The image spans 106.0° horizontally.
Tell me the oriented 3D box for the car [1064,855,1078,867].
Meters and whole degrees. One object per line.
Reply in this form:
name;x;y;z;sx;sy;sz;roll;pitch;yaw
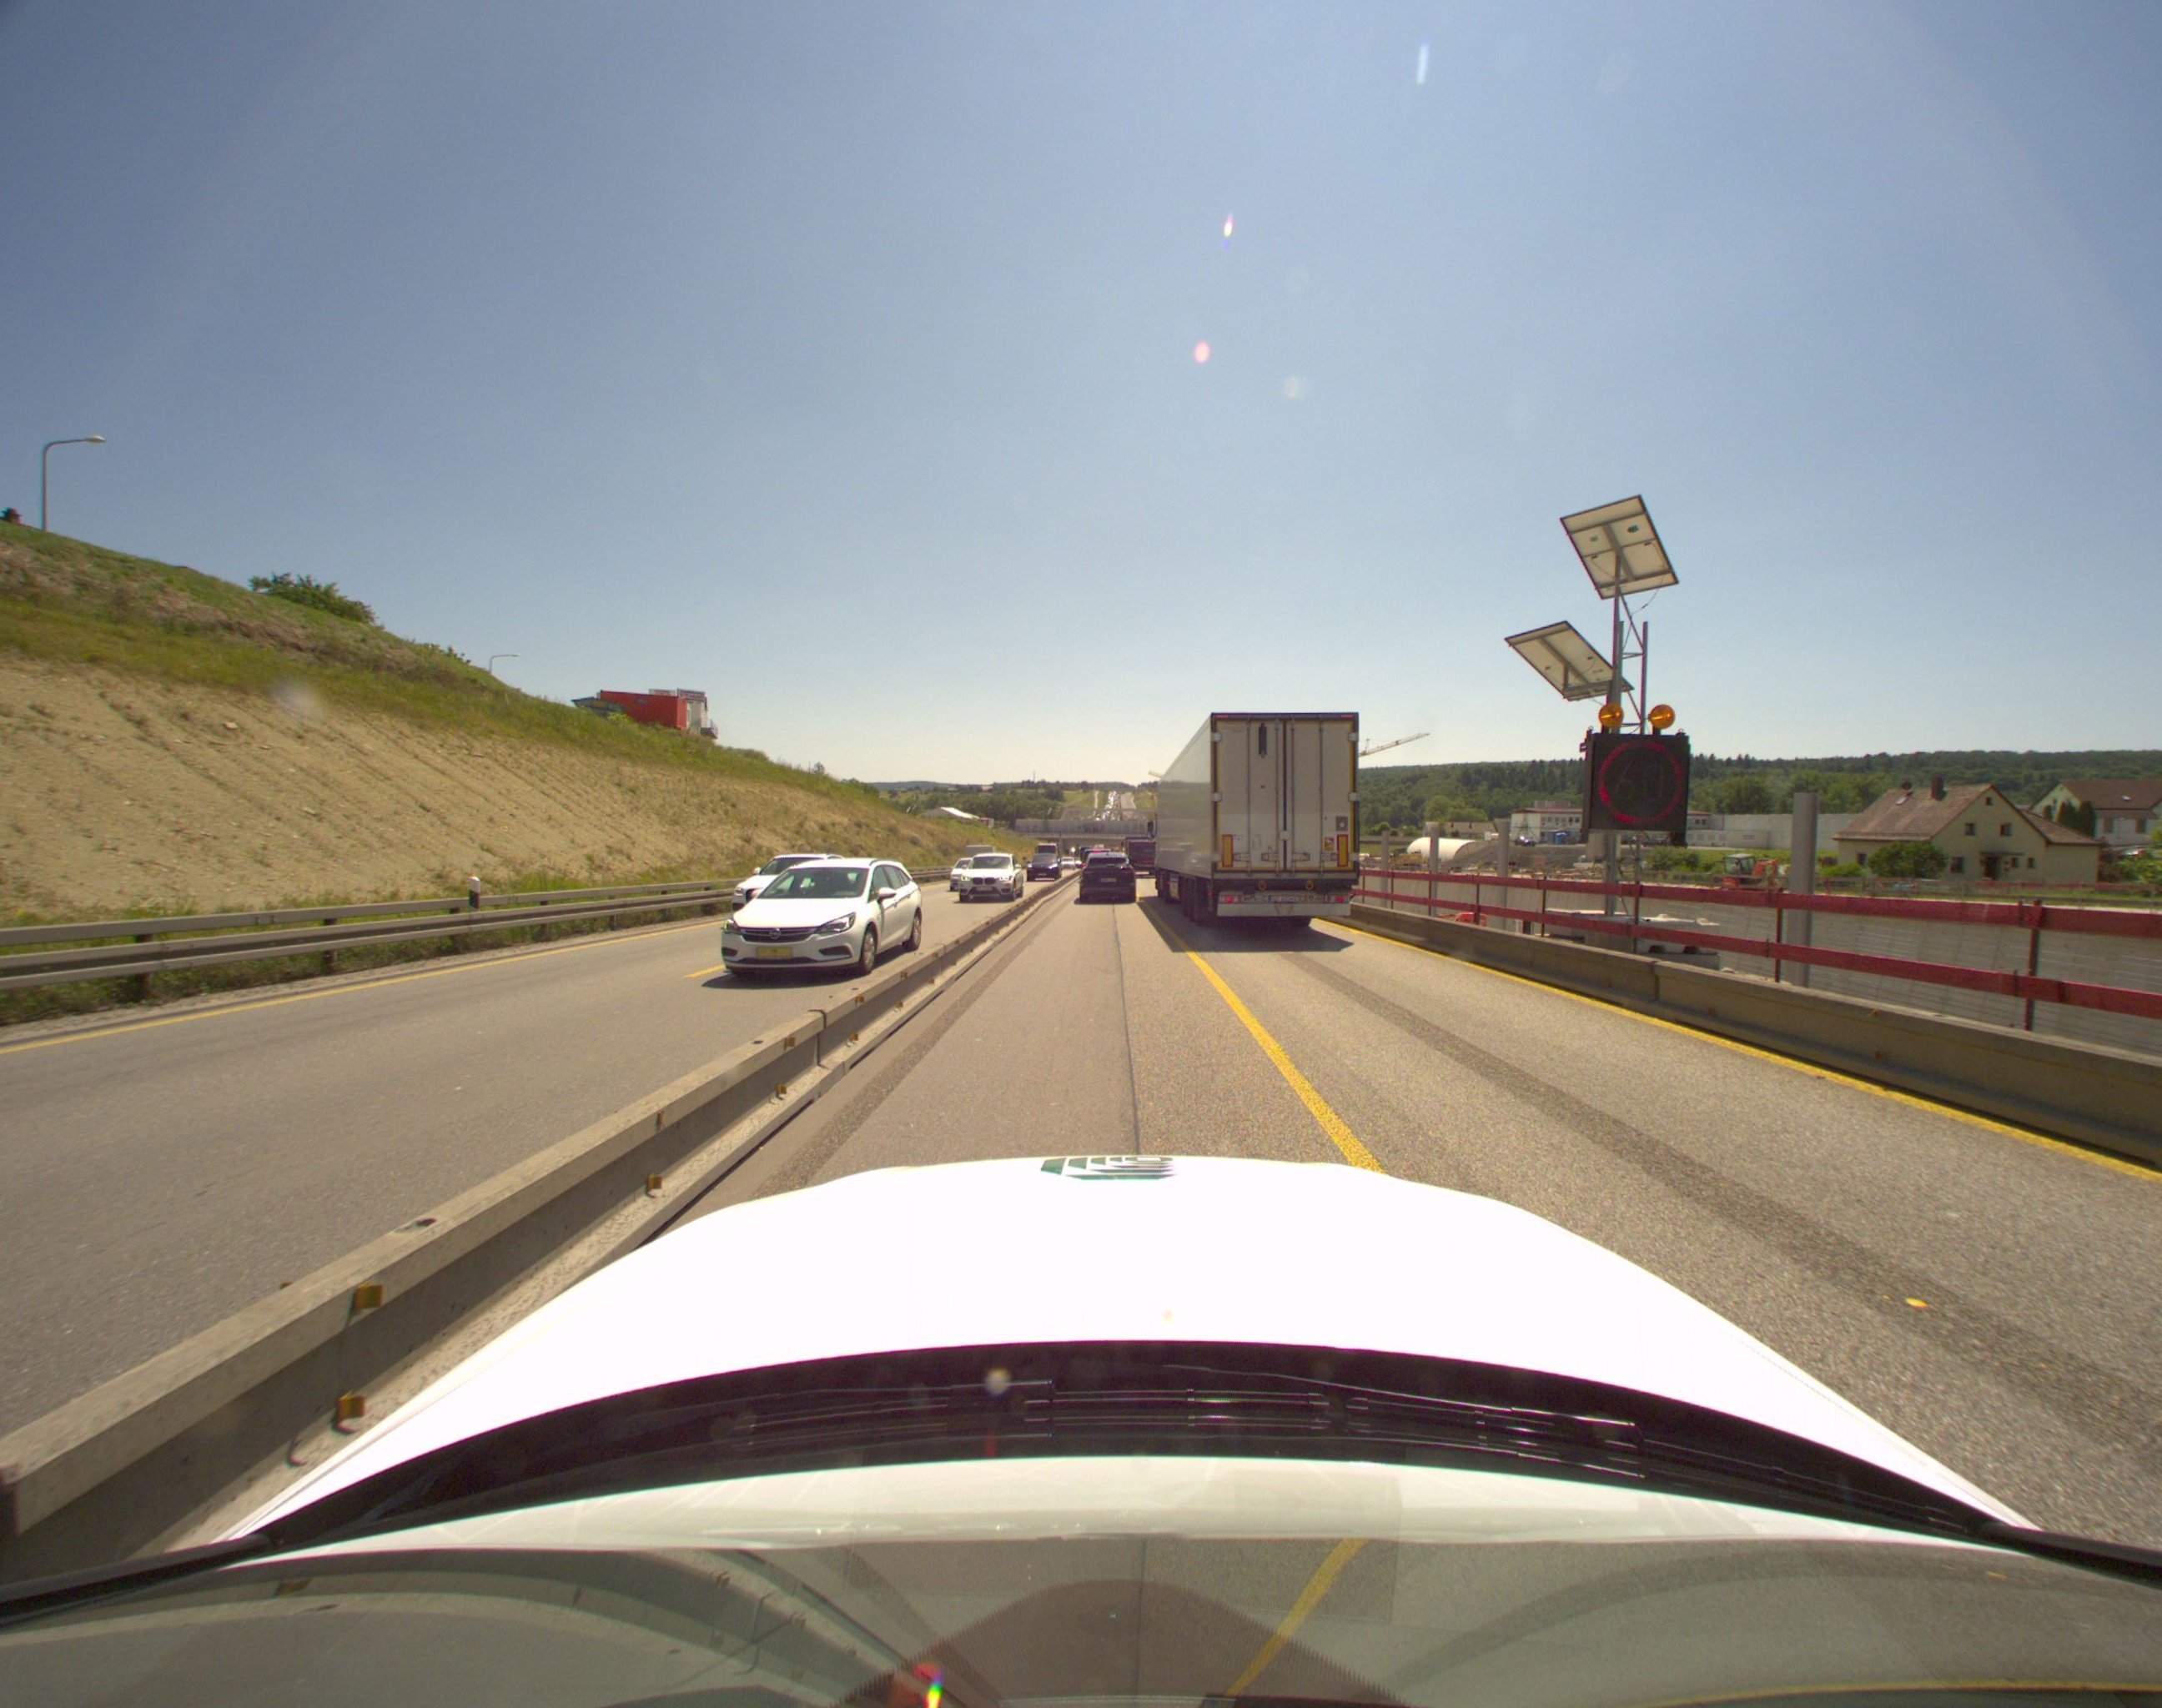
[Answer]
car;-1.216;0.833;102.760;1.679;1.430;4.122;-1;0;1

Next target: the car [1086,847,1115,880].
car;1.152;0.532;47.332;1.468;1.795;3.300;-3;0;3

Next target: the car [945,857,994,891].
car;-4.939;0.857;36.513;1.642;1.415;3.999;-1;0;-1

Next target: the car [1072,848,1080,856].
car;-1.253;-0.428;190.098;1.726;1.794;3.581;0;0;1

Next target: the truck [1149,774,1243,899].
truck;3.968;-0.545;29.080;2.766;4.058;4.906;-1;0;1

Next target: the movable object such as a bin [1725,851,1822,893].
movable object such as a bin;38.496;0.955;45.426;1.985;2.239;4.154;0;0;2

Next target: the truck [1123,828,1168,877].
truck;4.522;-0.067;59.531;2.803;3.135;12.845;-1;0;3

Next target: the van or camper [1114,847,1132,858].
van or camper;12.690;-0.402;246.971;3.941;3.419;8.381;0;0;-9

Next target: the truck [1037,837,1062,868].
truck;-4.044;-0.180;105.753;2.577;3.723;9.336;-1;0;2

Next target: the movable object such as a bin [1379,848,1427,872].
movable object such as a bin;41.180;0.785;104.493;2.876;2.909;9.485;0;0;3

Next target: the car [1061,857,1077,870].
car;-1.352;1.015;91.445;1.679;1.430;3.293;-1;0;1

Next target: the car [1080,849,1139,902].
car;0.934;0.661;26.718;1.793;1.620;3.299;0;0;2

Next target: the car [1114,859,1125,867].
car;6.168;1.359;129.631;1.533;1.206;3.310;-1;0;0

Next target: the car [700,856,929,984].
car;-3.523;0.785;11.691;1.800;1.477;4.281;0;0;1

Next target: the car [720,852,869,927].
car;-6.678;0.760;19.558;1.892;1.584;4.515;0;0;1

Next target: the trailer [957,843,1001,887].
trailer;-4.988;0.524;40.127;1.642;2.025;4.268;-1;0;-1

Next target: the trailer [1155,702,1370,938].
trailer;3.766;-0.551;21.127;2.791;4.058;14.121;-1;0;2

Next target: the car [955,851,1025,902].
car;-3.035;0.708;27.976;1.809;1.592;4.291;0;0;1

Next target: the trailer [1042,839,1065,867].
trailer;-3.815;-0.149;113.568;2.577;3.637;9.082;-1;0;2

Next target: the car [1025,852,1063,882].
car;-2.209;0.774;49.616;1.883;1.708;4.564;-1;0;2
